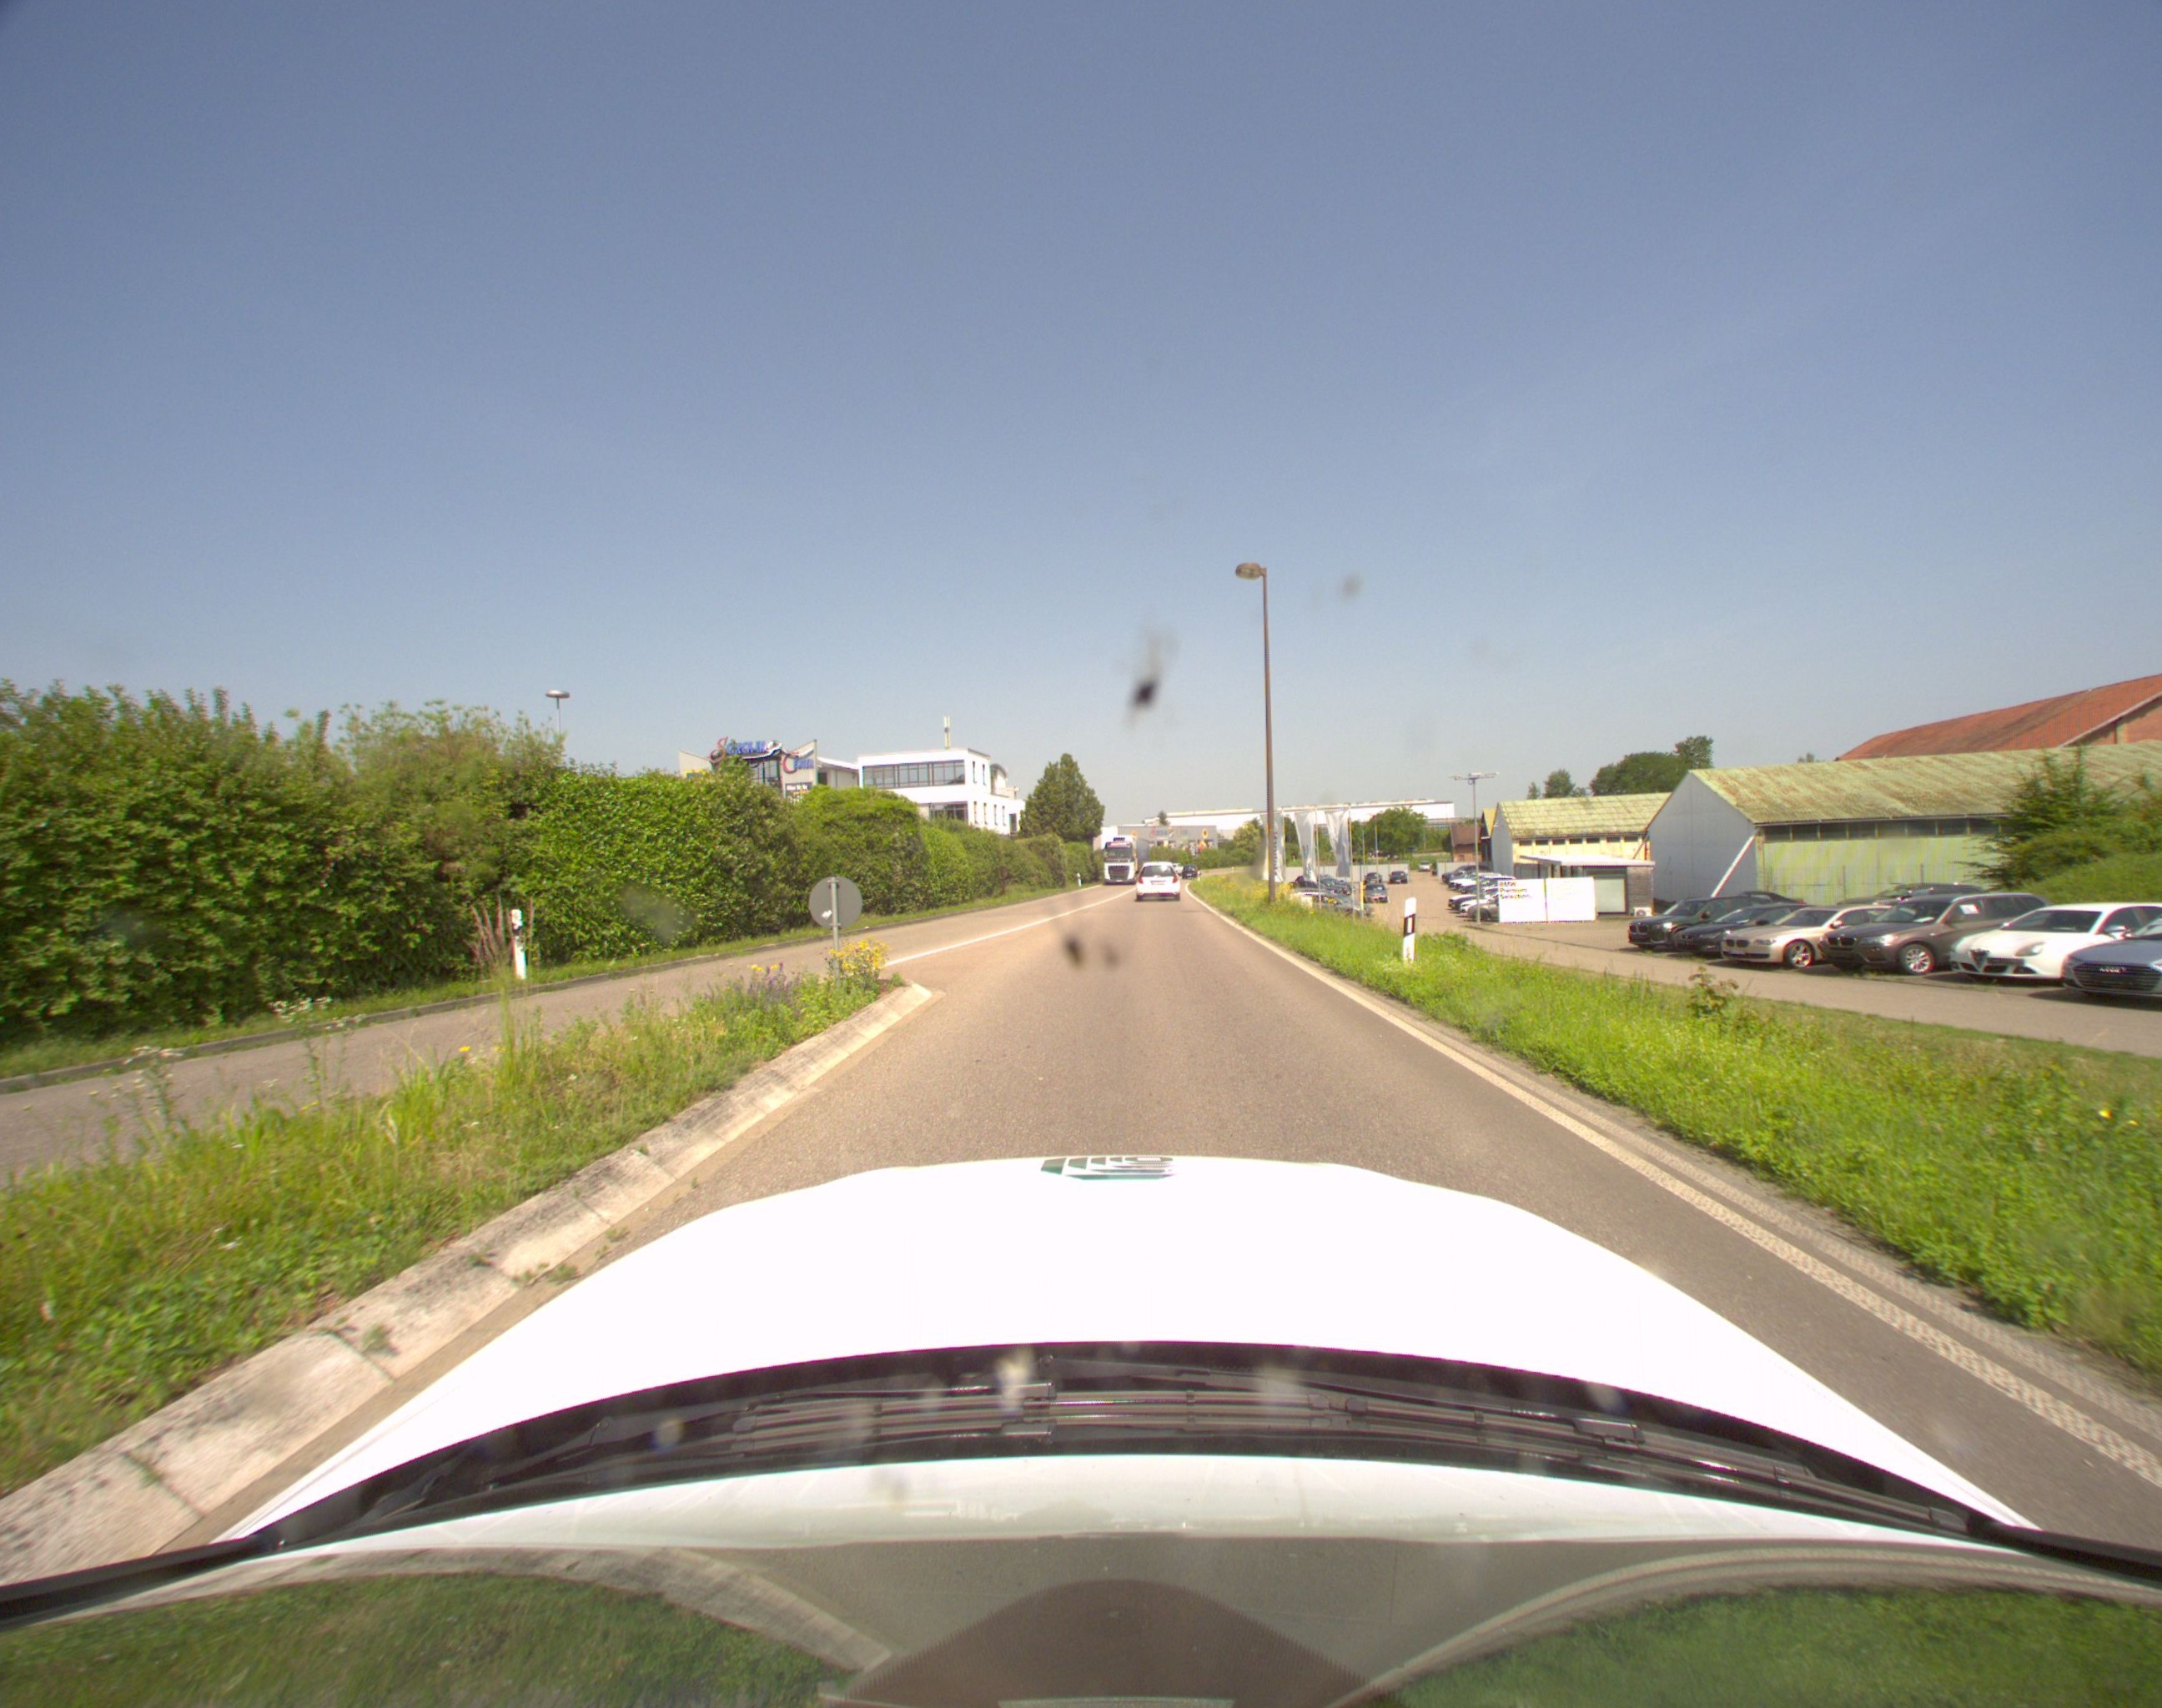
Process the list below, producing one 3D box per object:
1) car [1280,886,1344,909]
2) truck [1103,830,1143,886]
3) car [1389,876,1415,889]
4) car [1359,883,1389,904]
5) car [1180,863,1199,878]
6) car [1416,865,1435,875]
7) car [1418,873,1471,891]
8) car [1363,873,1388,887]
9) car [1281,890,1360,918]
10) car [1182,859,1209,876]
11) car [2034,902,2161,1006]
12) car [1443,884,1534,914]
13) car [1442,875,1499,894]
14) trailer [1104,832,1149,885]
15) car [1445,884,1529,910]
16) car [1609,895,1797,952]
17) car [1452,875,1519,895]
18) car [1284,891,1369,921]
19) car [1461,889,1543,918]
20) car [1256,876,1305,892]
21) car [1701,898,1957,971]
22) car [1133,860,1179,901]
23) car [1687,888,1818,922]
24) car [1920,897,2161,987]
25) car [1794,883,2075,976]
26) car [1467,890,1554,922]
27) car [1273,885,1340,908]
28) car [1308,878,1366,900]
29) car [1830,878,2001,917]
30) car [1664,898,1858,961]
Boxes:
[{"bbox_3d":[18.660,3.473,65.888,4.584,1.700,1.868,-2,1,40],"label":"car"},{"bbox_3d":[3.508,0.365,66.789,2.498,4.258,6.127,-3,-2,8],"label":"truck"},{"bbox_3d":[36.407,3.215,92.272,1.974,1.398,4.025,-2,-1,31],"label":"car"},{"bbox_3d":[22.786,3.028,63.332,2.117,1.457,4.554,-1,-1,20],"label":"car"},{"bbox_3d":[11.625,1.771,87.057,1.817,1.470,4.421,-1,-1,10],"label":"car"},{"bbox_3d":[49.955,2.376,118.013,1.974,1.398,4.025,-2,-1,31],"label":"car"},{"bbox_3d":[35.425,2.700,79.375,4.317,1.523,1.908,-2,0,-5],"label":"car"},{"bbox_3d":[33.921,2.958,93.711,1.832,1.534,4.672,-2,-1,31],"label":"car"},{"bbox_3d":[14.138,2.944,48.199,4.118,1.523,1.762,-2,-2,35],"label":"car"},{"bbox_3d":[14.274,1.704,101.751,1.974,2.014,4.024,-2,-1,30],"label":"car"},{"bbox_3d":[19.331,1.590,13.827,4.418,1.465,1.917,-4,-4,-8],"label":"car"},{"bbox_3d":[24.128,2.656,48.332,4.403,1.523,1.935,-2,-1,6],"label":"car"},{"bbox_3d":[35.631,2.793,74.520,4.317,1.523,1.908,-2,0,-5],"label":"car"},{"bbox_3d":[4.209,0.483,72.263,2.655,4.241,14.597,-1,-1,8],"label":"trailer"},{"bbox_3d":[25.797,2.729,51.916,4.397,1.523,1.938,-2,-2,11],"label":"car"},{"bbox_3d":[19.921,2.185,26.226,4.471,1.640,2.144,-1,-3,-4],"label":"car"},{"bbox_3d":[34.191,2.622,68.926,4.631,1.523,1.911,-2,-2,0],"label":"car"},{"bbox_3d":[13.545,2.840,45.038,4.118,1.523,1.701,-2,-2,39],"label":"car"},{"bbox_3d":[23.256,2.728,45.069,3.921,1.523,1.762,-2,-2,26],"label":"car"},{"bbox_3d":[21.076,3.215,86.039,4.583,1.605,1.868,-2,-1,34],"label":"car"},{"bbox_3d":[19.469,2.070,21.368,4.751,1.508,1.999,-4,-3,0],"label":"car"},{"bbox_3d":[3.147,1.056,33.826,1.772,1.603,3.899,1,0,6],"label":"car"},{"bbox_3d":[28.395,2.151,34.567,3.906,1.376,1.727,-1,-1,18],"label":"car"},{"bbox_3d":[19.955,1.710,16.317,4.234,1.465,1.873,-3,-3,0],"label":"car"},{"bbox_3d":[19.556,1.712,18.836,4.234,1.748,1.999,-4,-4,0],"label":"car"},{"bbox_3d":[22.106,2.625,41.953,3.754,1.523,1.762,-2,-2,33],"label":"car"},{"bbox_3d":[15.951,2.997,57.609,4.118,1.523,1.868,-2,-2,35],"label":"car"},{"bbox_3d":[21.496,2.955,68.572,4.182,1.700,1.931,-2,1,43],"label":"car"},{"bbox_3d":[33.643,1.739,33.004,4.408,1.471,1.992,-1,-1,18],"label":"car"},{"bbox_3d":[19.672,2.157,23.693,3.979,1.552,1.997,-2,-3,-4],"label":"car"}]
